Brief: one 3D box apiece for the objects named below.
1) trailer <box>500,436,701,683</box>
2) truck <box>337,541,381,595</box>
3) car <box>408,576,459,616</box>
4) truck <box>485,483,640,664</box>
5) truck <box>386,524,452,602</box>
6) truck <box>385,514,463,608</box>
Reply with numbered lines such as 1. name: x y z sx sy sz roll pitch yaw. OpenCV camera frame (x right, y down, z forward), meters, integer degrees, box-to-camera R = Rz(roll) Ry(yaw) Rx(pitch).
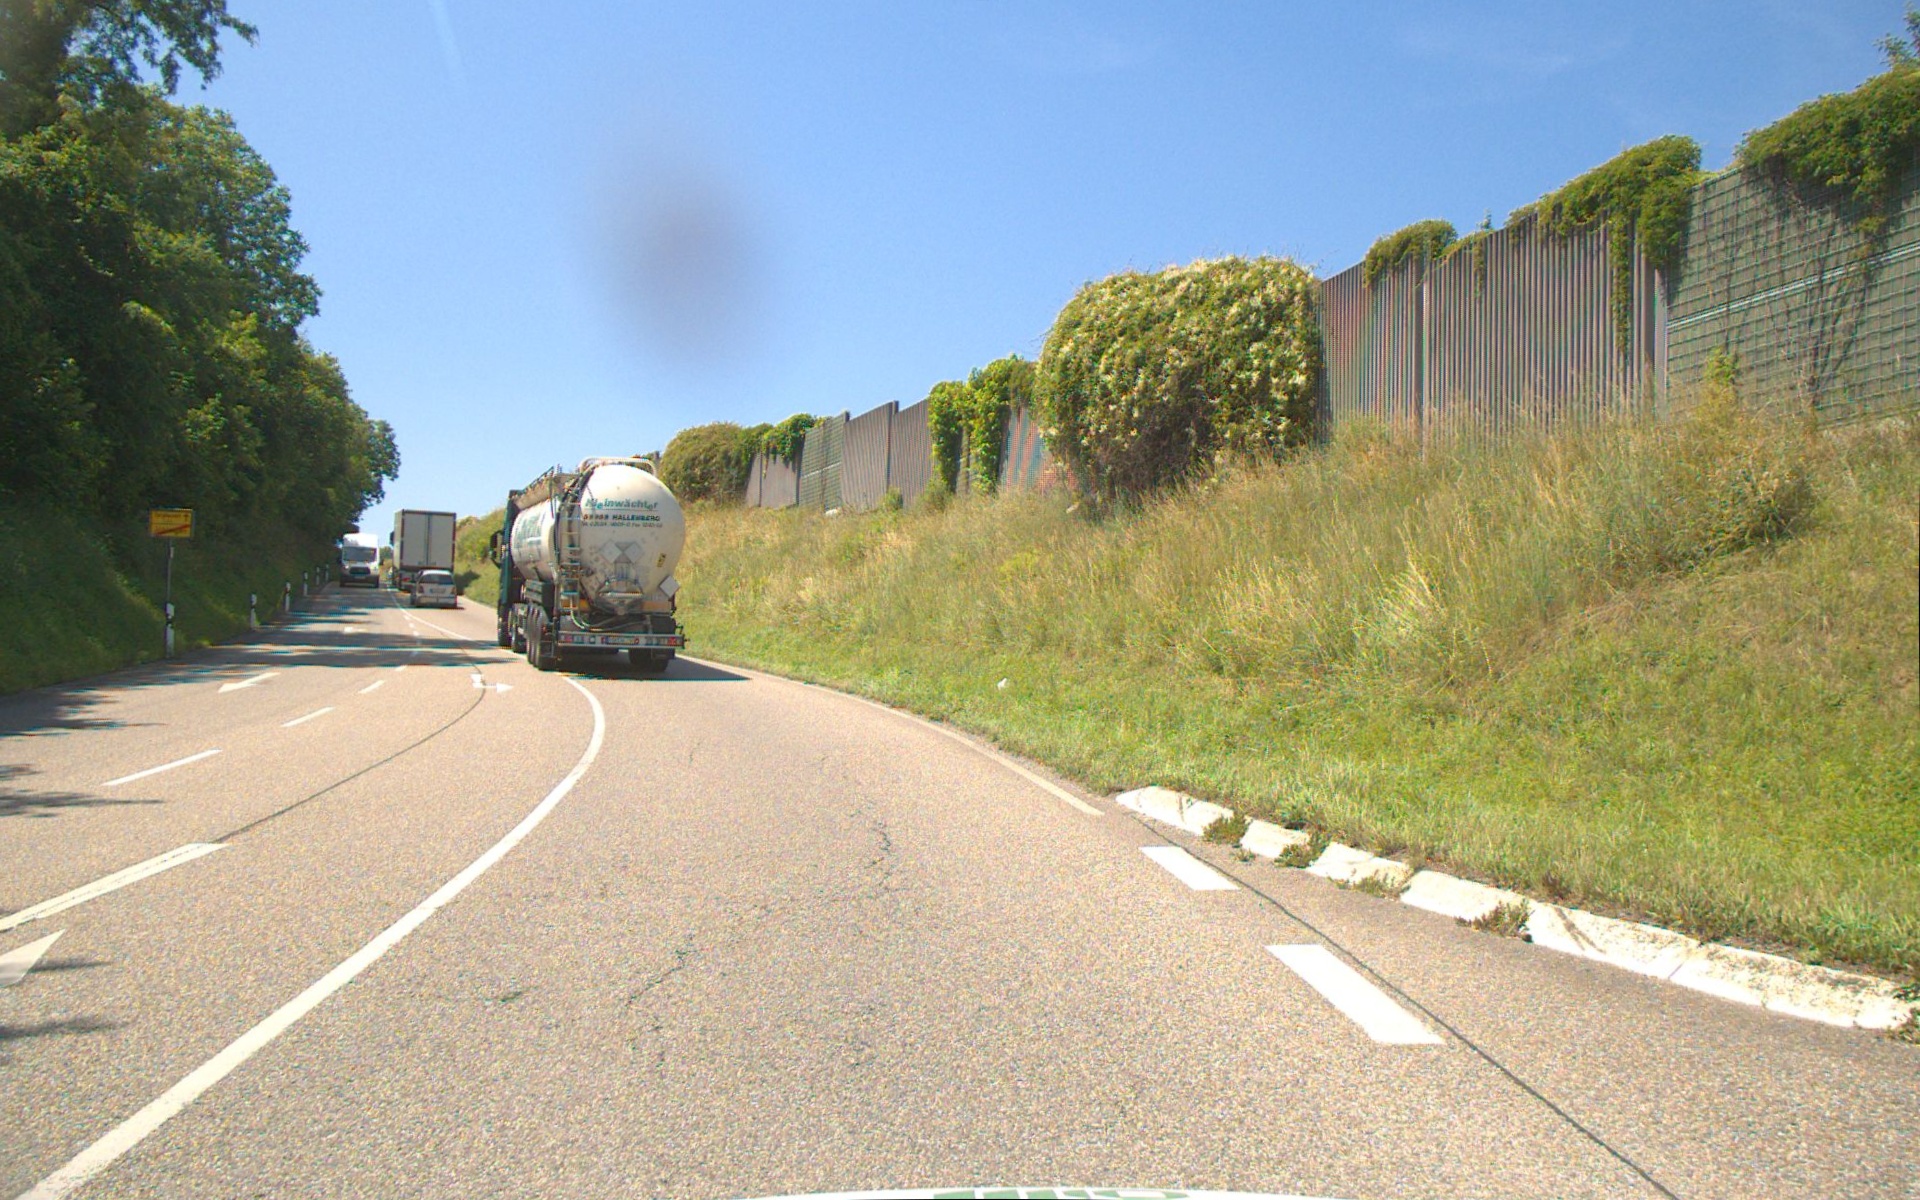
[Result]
1. trailer: -7.913 -0.724 34.996 2.621 4.262 11.837 2 -1 -19
2. truck: -32.045 -1.737 88.231 2.022 2.733 5.948 2 1 -19
3. car: -22.168 -0.165 69.579 1.626 1.536 3.612 4 -2 -23
4. truck: -9.892 -0.611 40.594 2.688 3.998 7.217 2 0 -21
5. truck: -30.255 -1.997 92.298 3.143 4.002 8.203 3 -1 -20
6. truck: -28.242 -2.045 86.863 3.144 4.384 11.730 5 0 -20
